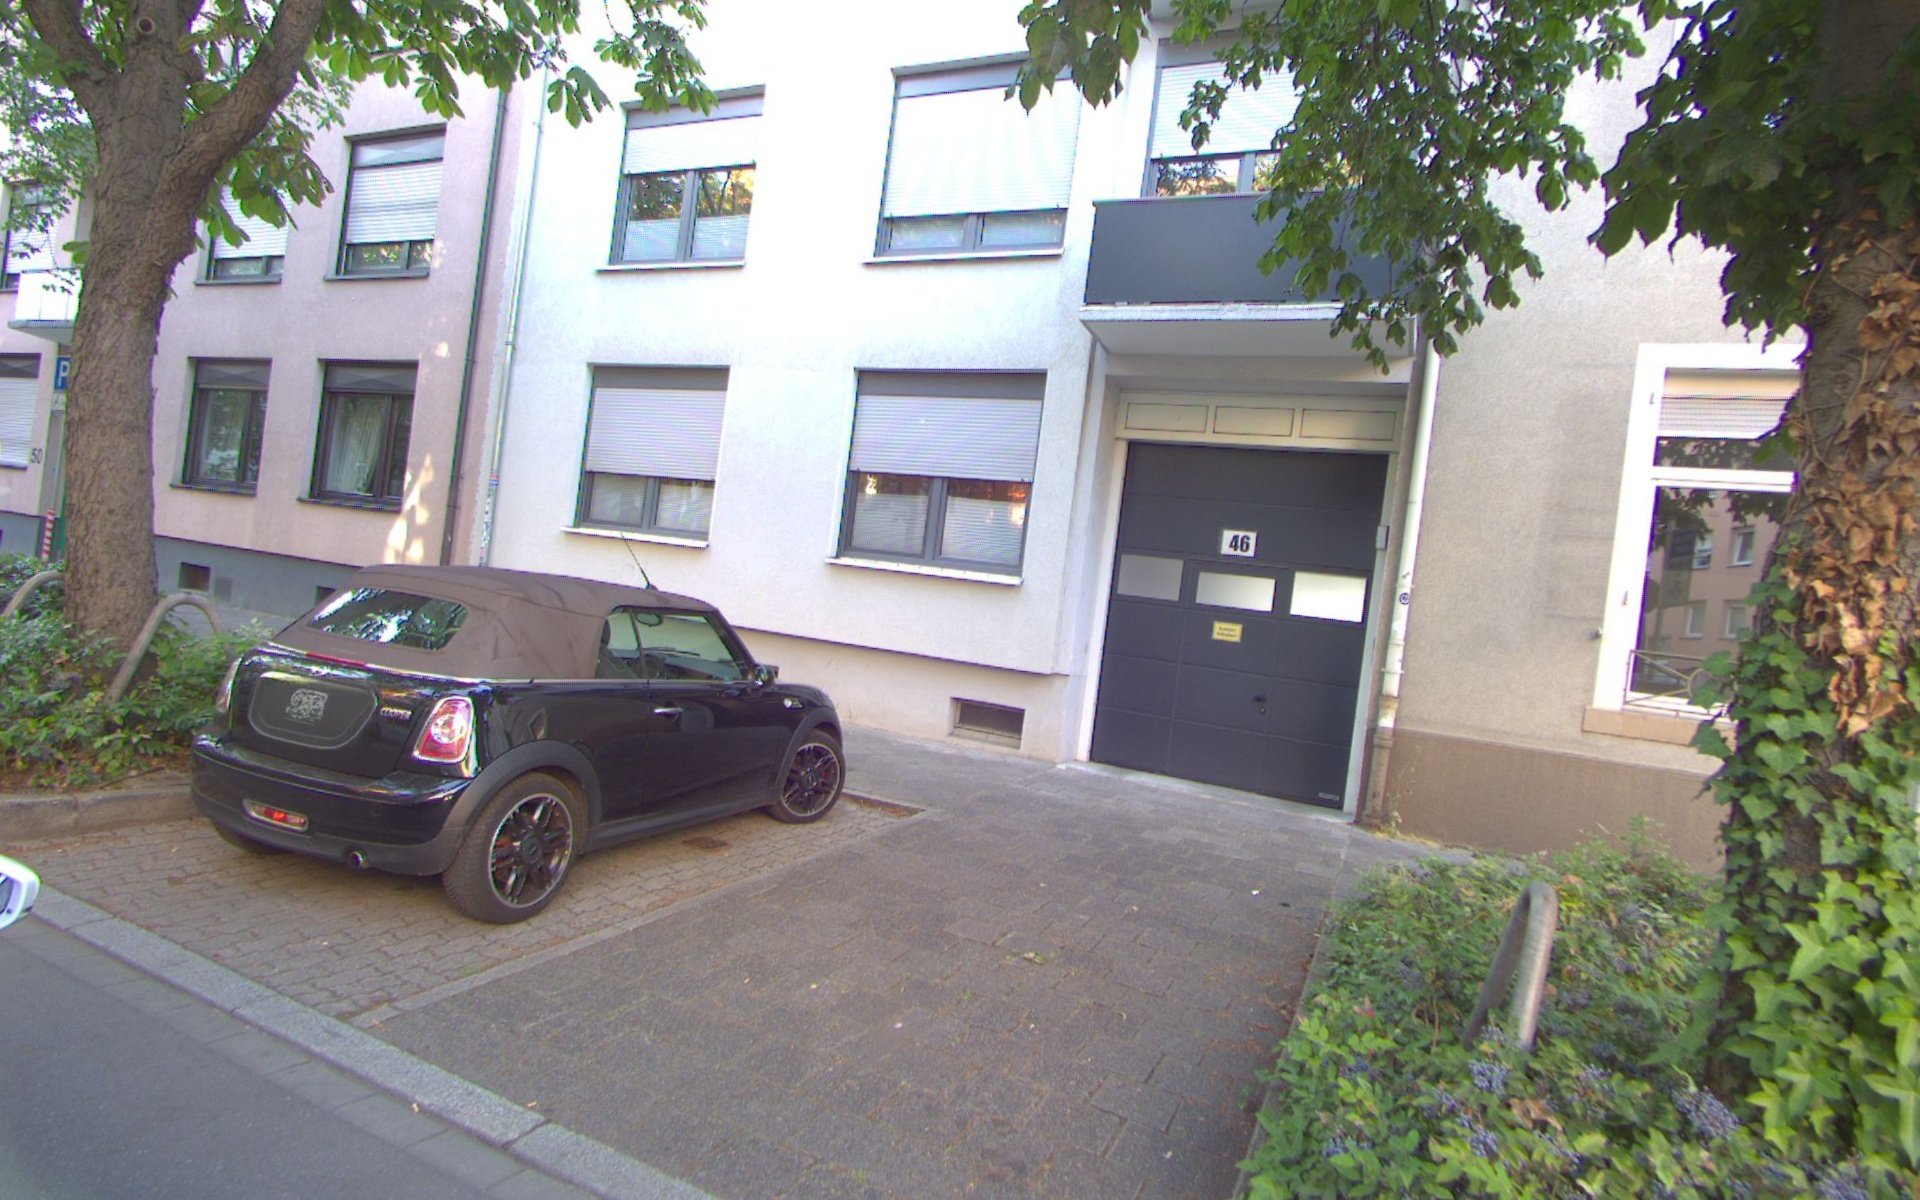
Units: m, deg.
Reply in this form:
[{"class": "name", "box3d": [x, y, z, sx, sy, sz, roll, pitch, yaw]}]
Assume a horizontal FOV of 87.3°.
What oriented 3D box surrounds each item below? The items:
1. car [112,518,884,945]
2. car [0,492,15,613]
[{"class": "car", "box3d": [-2.016, 0.552, 5.532, 1.634, 1.380, 3.622, 7, -1, 22]}, {"class": "car", "box3d": [-13.345, -0.802, 11.046, 1.634, 1.494, 3.921, 7, -1, 24]}]
